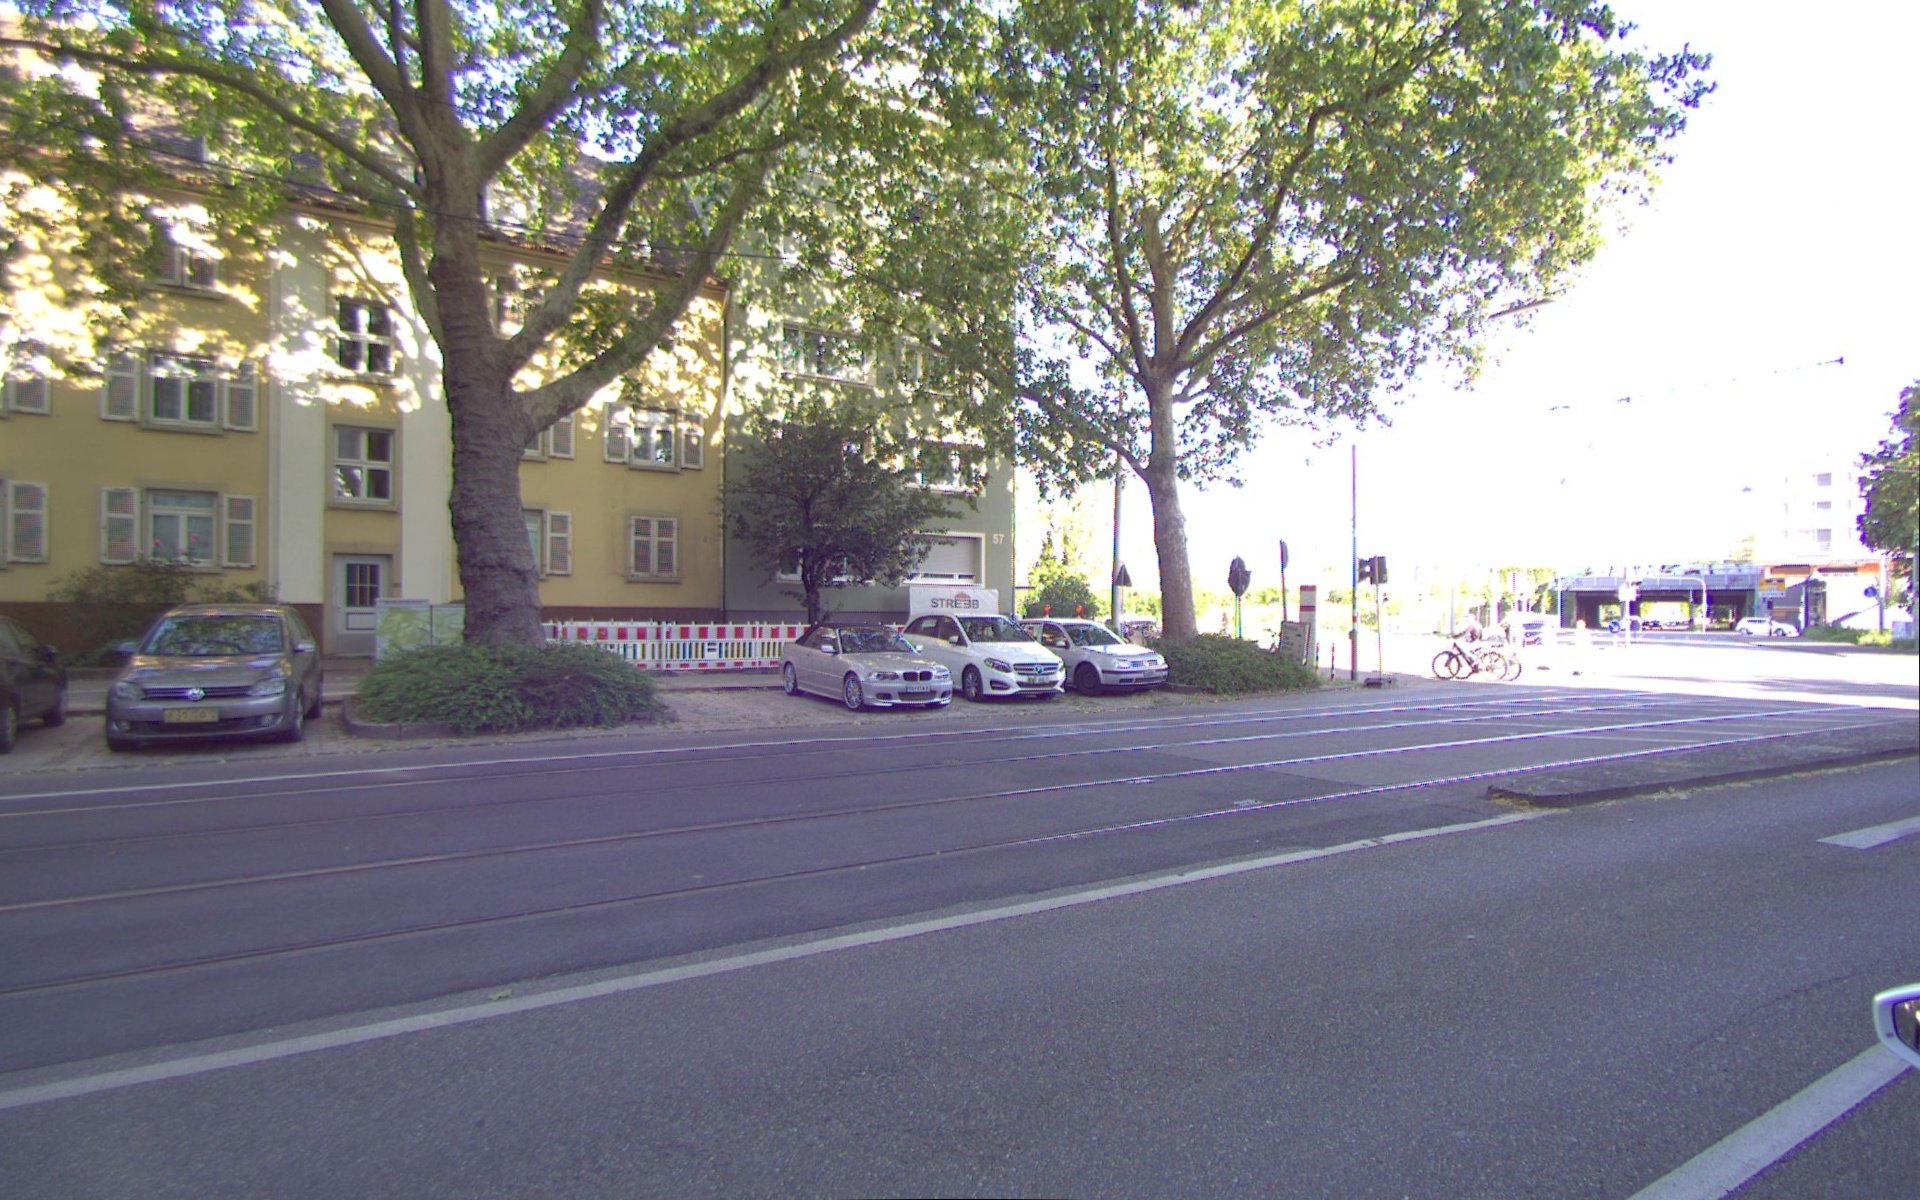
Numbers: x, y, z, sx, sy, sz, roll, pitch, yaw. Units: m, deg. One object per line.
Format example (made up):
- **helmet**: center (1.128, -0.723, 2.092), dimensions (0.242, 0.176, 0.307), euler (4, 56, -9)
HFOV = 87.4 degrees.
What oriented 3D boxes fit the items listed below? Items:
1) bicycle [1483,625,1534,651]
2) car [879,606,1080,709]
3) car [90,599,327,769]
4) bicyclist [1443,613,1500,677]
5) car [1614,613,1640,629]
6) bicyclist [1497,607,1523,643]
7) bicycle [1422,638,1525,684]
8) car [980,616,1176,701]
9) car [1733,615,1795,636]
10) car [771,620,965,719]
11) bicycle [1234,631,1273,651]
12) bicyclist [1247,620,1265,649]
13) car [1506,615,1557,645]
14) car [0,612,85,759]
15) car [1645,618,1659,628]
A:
- **bicycle**: center (24.802, 1.706, 45.447), dimensions (0.585, 1.108, 2.046), euler (1, -1, -28)
- **car**: center (0.222, 0.996, 19.485), dimensions (1.777, 1.640, 4.587), euler (1, 1, -30)
- **car**: center (-9.036, 0.862, 12.431), dimensions (1.793, 1.627, 4.169), euler (1, 1, -29)
- **bicyclist**: center (12.697, 1.088, 24.935), dimensions (1.099, 1.540, 0.918), euler (0, -1, 38)
- **car**: center (75.507, 2.367, 113.703), dimensions (2.185, 1.847, 4.131), euler (0, -1, 37)
- **bicyclist**: center (24.844, 1.126, 45.367), dimensions (0.641, 1.616, 0.857), euler (1, -1, -29)
- **bicycle**: center (12.723, 1.487, 24.933), dimensions (2.163, 1.047, 0.831), euler (0, -1, 38)
- **car**: center (2.301, 1.111, 20.830), dimensions (1.656, 1.448, 4.490), euler (1, 0, -30)
- **car**: center (72.586, 2.308, 90.714), dimensions (1.723, 1.829, 4.139), euler (1, -1, -41)
- **car**: center (-1.728, 1.096, 17.441), dimensions (1.708, 1.386, 4.219), euler (1, 0, -31)
- **bicycle**: center (16.346, 2.281, 55.988), dimensions (2.001, 1.075, 0.583), euler (0, -1, 1)
- **bicyclist**: center (16.524, 1.933, 56.018), dimensions (0.816, 1.584, 0.637), euler (0, -1, 1)
- **car**: center (32.432, 1.683, 56.946), dimensions (1.803, 1.539, 3.876), euler (2, 1, 40)
- **car**: center (-11.393, 0.883, 11.303), dimensions (1.723, 1.448, 3.545), euler (1, 0, -31)
- **car**: center (120.211, 4.008, 174.576), dimensions (1.967, 1.623, 4.234), euler (0, -1, 34)
